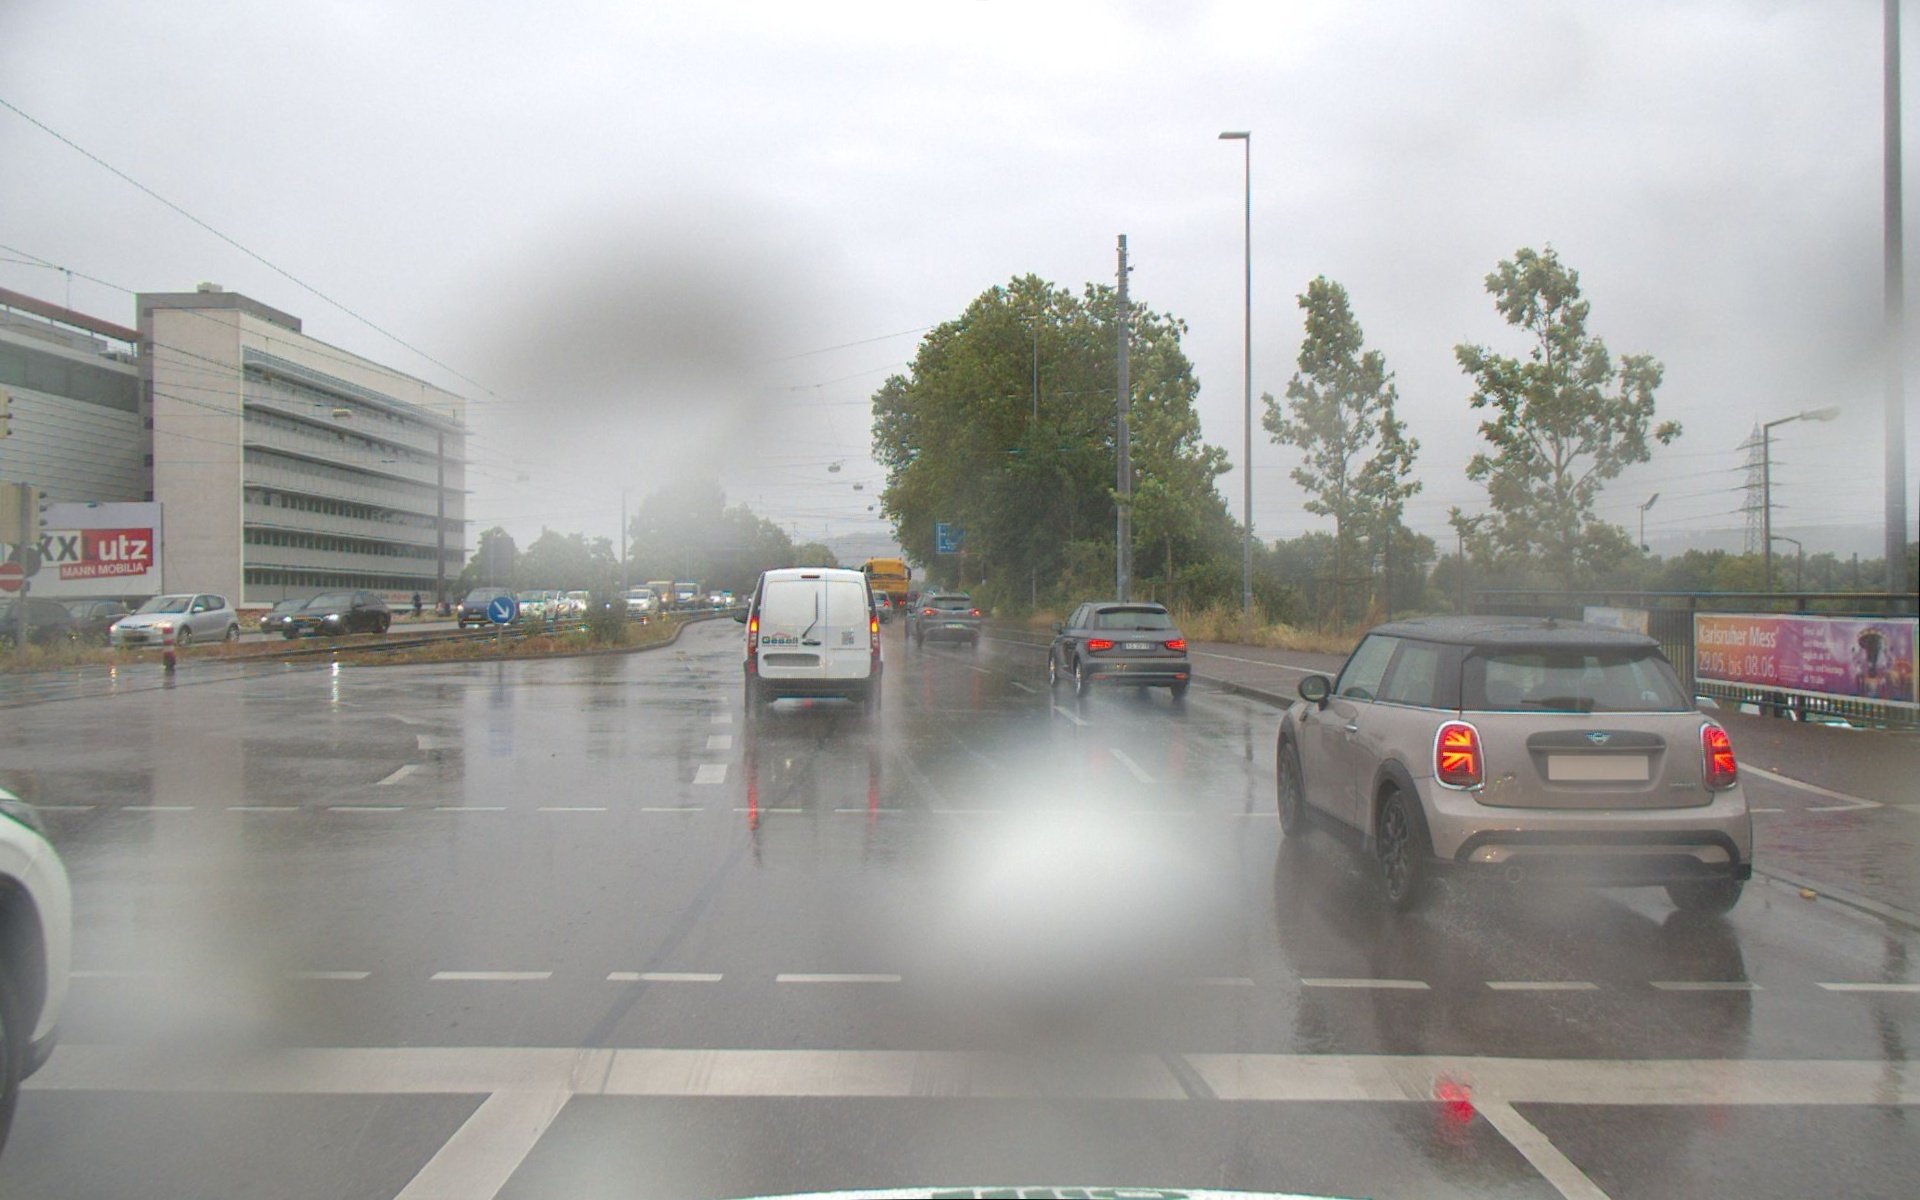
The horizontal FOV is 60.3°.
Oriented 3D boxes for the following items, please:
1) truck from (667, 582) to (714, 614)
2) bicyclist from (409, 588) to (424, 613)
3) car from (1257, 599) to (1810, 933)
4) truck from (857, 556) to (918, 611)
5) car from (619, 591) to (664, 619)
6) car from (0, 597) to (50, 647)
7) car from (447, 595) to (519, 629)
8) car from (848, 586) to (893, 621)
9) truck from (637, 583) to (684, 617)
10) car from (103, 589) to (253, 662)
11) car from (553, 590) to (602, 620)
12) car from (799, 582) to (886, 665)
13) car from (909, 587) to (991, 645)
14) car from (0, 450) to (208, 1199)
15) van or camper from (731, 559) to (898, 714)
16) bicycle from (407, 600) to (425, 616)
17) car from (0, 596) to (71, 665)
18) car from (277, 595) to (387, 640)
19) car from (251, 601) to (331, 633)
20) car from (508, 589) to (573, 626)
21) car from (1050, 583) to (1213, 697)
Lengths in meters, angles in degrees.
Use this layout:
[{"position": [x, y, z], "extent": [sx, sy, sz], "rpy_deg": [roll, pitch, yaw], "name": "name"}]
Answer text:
[{"position": [-22.609, -0.159, 138.942], "extent": [2.384, 2.500, 7.221], "rpy_deg": [2, 0, 3], "name": "truck"}, {"position": [-34.725, 0.031, 105.687], "extent": [0.657, 1.617, 0.792], "rpy_deg": [2, 0, 0], "name": "bicyclist"}, {"position": [2.949, 0.755, 9.428], "extent": [1.755, 1.438, 3.854], "rpy_deg": [1, 1, -1], "name": "car"}, {"position": [-3.845, -0.871, 88.856], "extent": [3.049, 2.821, 6.328], "rpy_deg": [0, 0, -1], "name": "truck"}, {"position": [-19.697, 0.272, 102.356], "extent": [1.834, 1.601, 4.329], "rpy_deg": [1, 1, 1], "name": "car"}, {"position": [-26.501, 0.612, 44.559], "extent": [1.548, 1.271, 3.917], "rpy_deg": [1, 1, 4], "name": "car"}, {"position": [-20.023, 0.478, 69.606], "extent": [1.677, 1.271, 4.462], "rpy_deg": [1, 1, 0], "name": "car"}, {"position": [-3.987, 0.135, 73.818], "extent": [1.781, 1.438, 3.778], "rpy_deg": [1, 1, 0], "name": "car"}, {"position": [-23.199, -0.035, 128.204], "extent": [2.181, 2.505, 6.069], "rpy_deg": [2, 0, 3], "name": "truck"}, {"position": [-20.713, 0.618, 44.016], "extent": [1.676, 1.737, 4.431], "rpy_deg": [1, 1, 3], "name": "car"}, {"position": [-23.037, 0.268, 99.690], "extent": [1.869, 1.634, 4.841], "rpy_deg": [2, 1, -1], "name": "car"}, {"position": [-2.756, 0.479, 38.202], "extent": [1.862, 1.746, 4.721], "rpy_deg": [1, 1, -5], "name": "car"}, {"position": [-0.328, 0.403, 44.949], "extent": [1.784, 1.438, 3.772], "rpy_deg": [1, 1, -7], "name": "car"}, {"position": [-3.100, 0.567, 2.410], "extent": [1.948, 1.820, 4.552], "rpy_deg": [1, 0, -1], "name": "car"}, {"position": [-1.837, 0.392, 21.771], "extent": [1.954, 1.815, 3.998], "rpy_deg": [1, 1, -3], "name": "van or camper"}, {"position": [-34.735, 0.513, 105.647], "extent": [0.655, 1.033, 1.556], "rpy_deg": [2, 0, -1], "name": "bicycle"}, {"position": [-21.426, 0.673, 36.046], "extent": [1.548, 1.390, 4.204], "rpy_deg": [1, 1, 4], "name": "car"}, {"position": [-19.800, 0.531, 52.346], "extent": [1.676, 1.271, 4.050], "rpy_deg": [1, 1, 4], "name": "car"}, {"position": [-29.977, 0.748, 74.265], "extent": [1.676, 1.271, 4.050], "rpy_deg": [1, 1, 4], "name": "car"}, {"position": [-19.356, 0.307, 76.465], "extent": [1.676, 1.562, 4.050], "rpy_deg": [1, 1, 4], "name": "car"}, {"position": [2.527, 0.549, 25.269], "extent": [1.928, 1.555, 3.989], "rpy_deg": [1, 1, -2], "name": "car"}]
